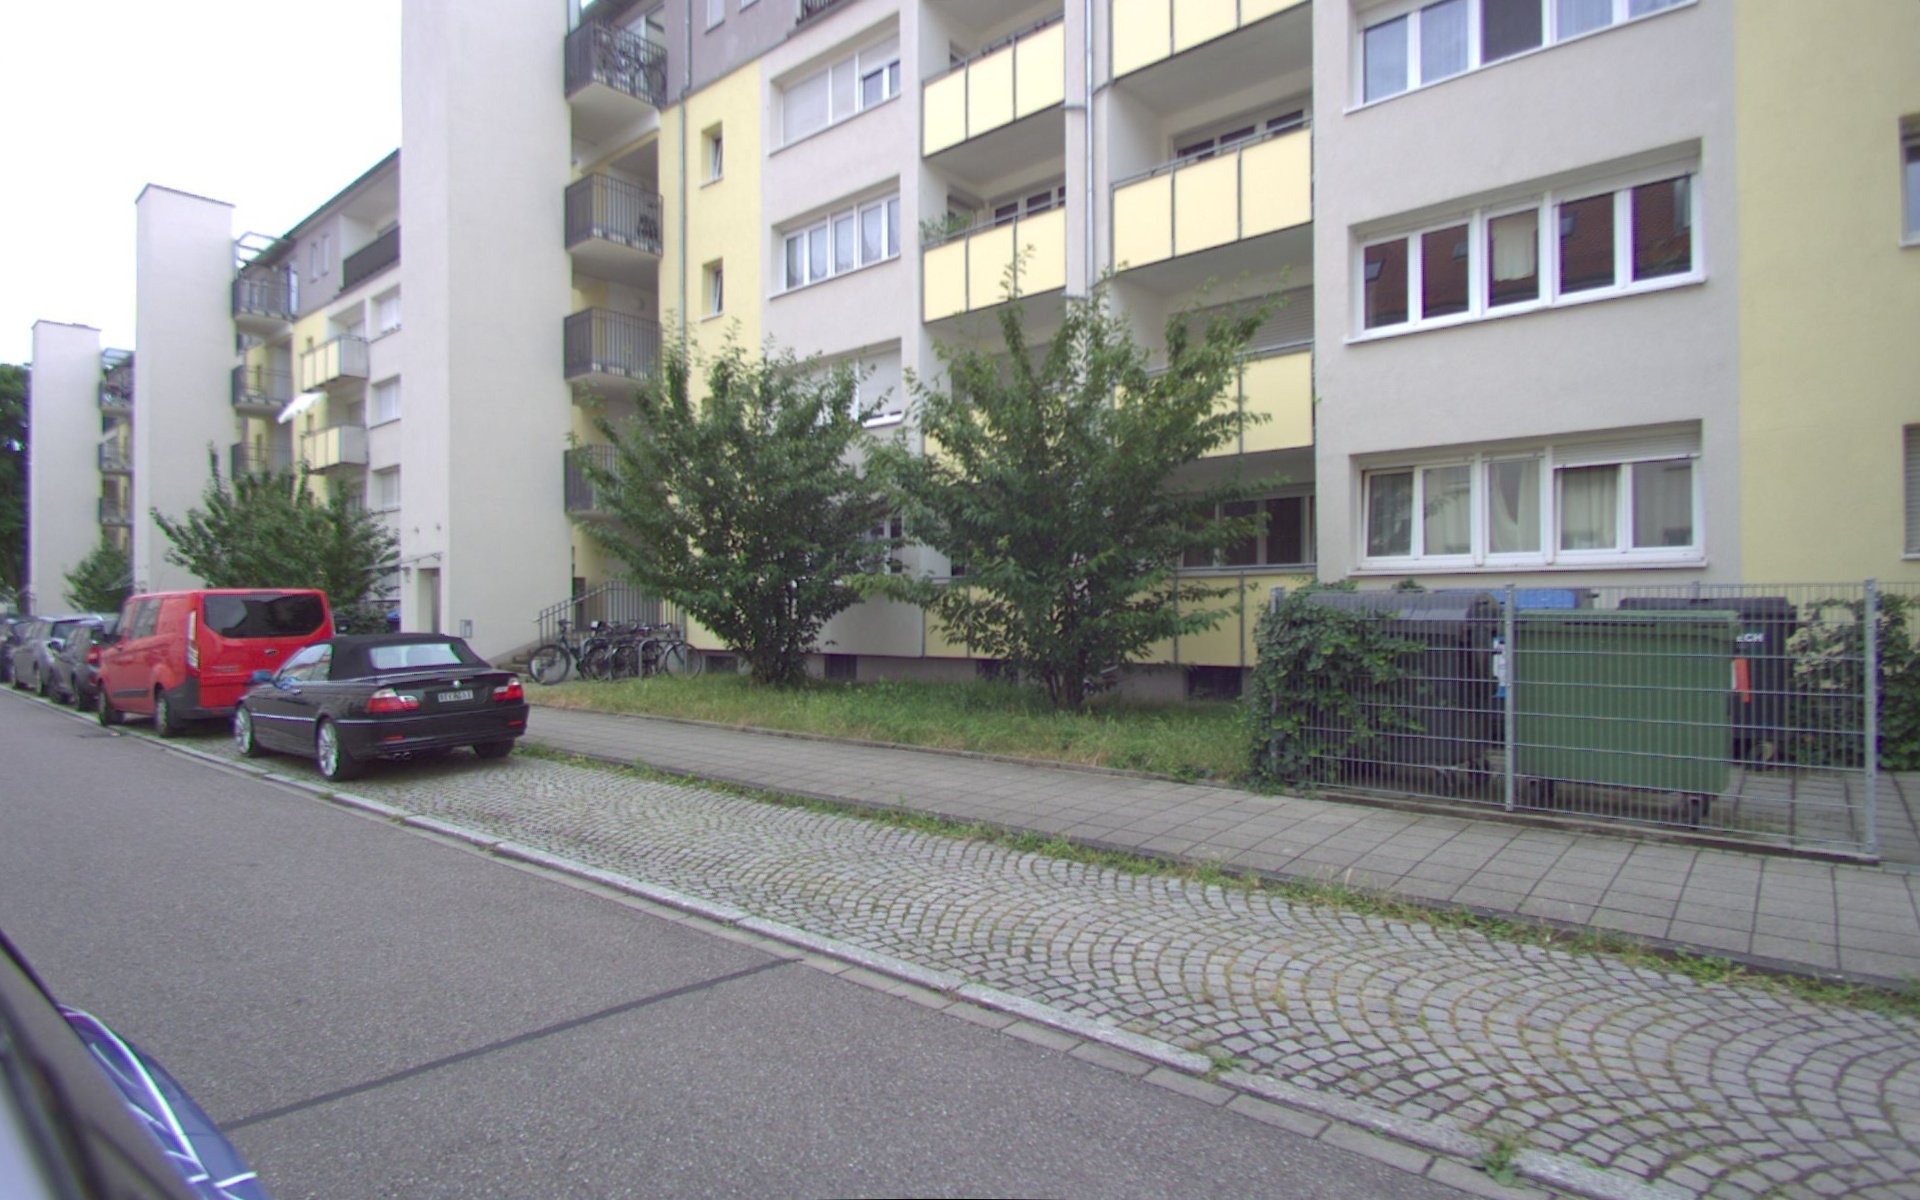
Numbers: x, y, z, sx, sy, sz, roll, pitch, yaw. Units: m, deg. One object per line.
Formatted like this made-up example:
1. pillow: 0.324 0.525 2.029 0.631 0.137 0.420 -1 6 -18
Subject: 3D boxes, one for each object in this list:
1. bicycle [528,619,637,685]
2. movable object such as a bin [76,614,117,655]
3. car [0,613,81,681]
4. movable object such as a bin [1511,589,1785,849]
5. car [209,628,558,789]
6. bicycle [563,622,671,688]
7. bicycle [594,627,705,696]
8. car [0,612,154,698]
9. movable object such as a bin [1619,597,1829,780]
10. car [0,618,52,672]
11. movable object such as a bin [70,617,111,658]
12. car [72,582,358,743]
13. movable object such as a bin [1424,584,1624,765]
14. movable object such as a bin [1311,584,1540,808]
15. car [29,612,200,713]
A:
1. bicycle: -6.911 0.926 18.602 0.604 1.127 1.816 -1 -1 39
2. movable object such as a bin: -31.959 1.268 37.460 1.313 1.458 0.991 -1 -1 41
3. car: -23.486 1.142 25.468 3.894 1.542 1.635 -1 0 43
4. movable object such as a bin: 4.284 0.665 6.335 1.288 1.440 0.794 -1 -1 44
5. car: -6.373 1.005 10.980 4.357 1.333 1.852 -1 0 39
6. bicycle: -6.209 0.968 18.392 0.570 1.127 1.815 -1 -1 42
7. bicycle: -5.433 1.047 17.797 1.813 1.127 0.571 0 -1 -44
8. car: -19.108 1.103 21.666 4.855 1.582 1.817 -1 0 38
9. movable object such as a bin: 6.212 0.660 8.247 1.287 1.350 0.969 -1 -1 41
10. car: -27.655 1.266 29.218 3.854 1.449 1.627 -1 0 41
11. movable object such as a bin: -32.958 1.407 38.351 1.313 1.512 0.991 -1 -1 41
12. car: -11.017 0.789 14.843 4.915 1.968 2.131 -1 0 38
13. movable object such as a bin: 5.138 0.614 9.199 1.371 1.475 1.339 -1 0 39
14. movable object such as a bin: 3.308 0.621 7.229 1.288 1.440 0.795 -1 -1 43
15. car: -15.365 1.044 18.319 4.051 1.582 1.703 -1 0 41
